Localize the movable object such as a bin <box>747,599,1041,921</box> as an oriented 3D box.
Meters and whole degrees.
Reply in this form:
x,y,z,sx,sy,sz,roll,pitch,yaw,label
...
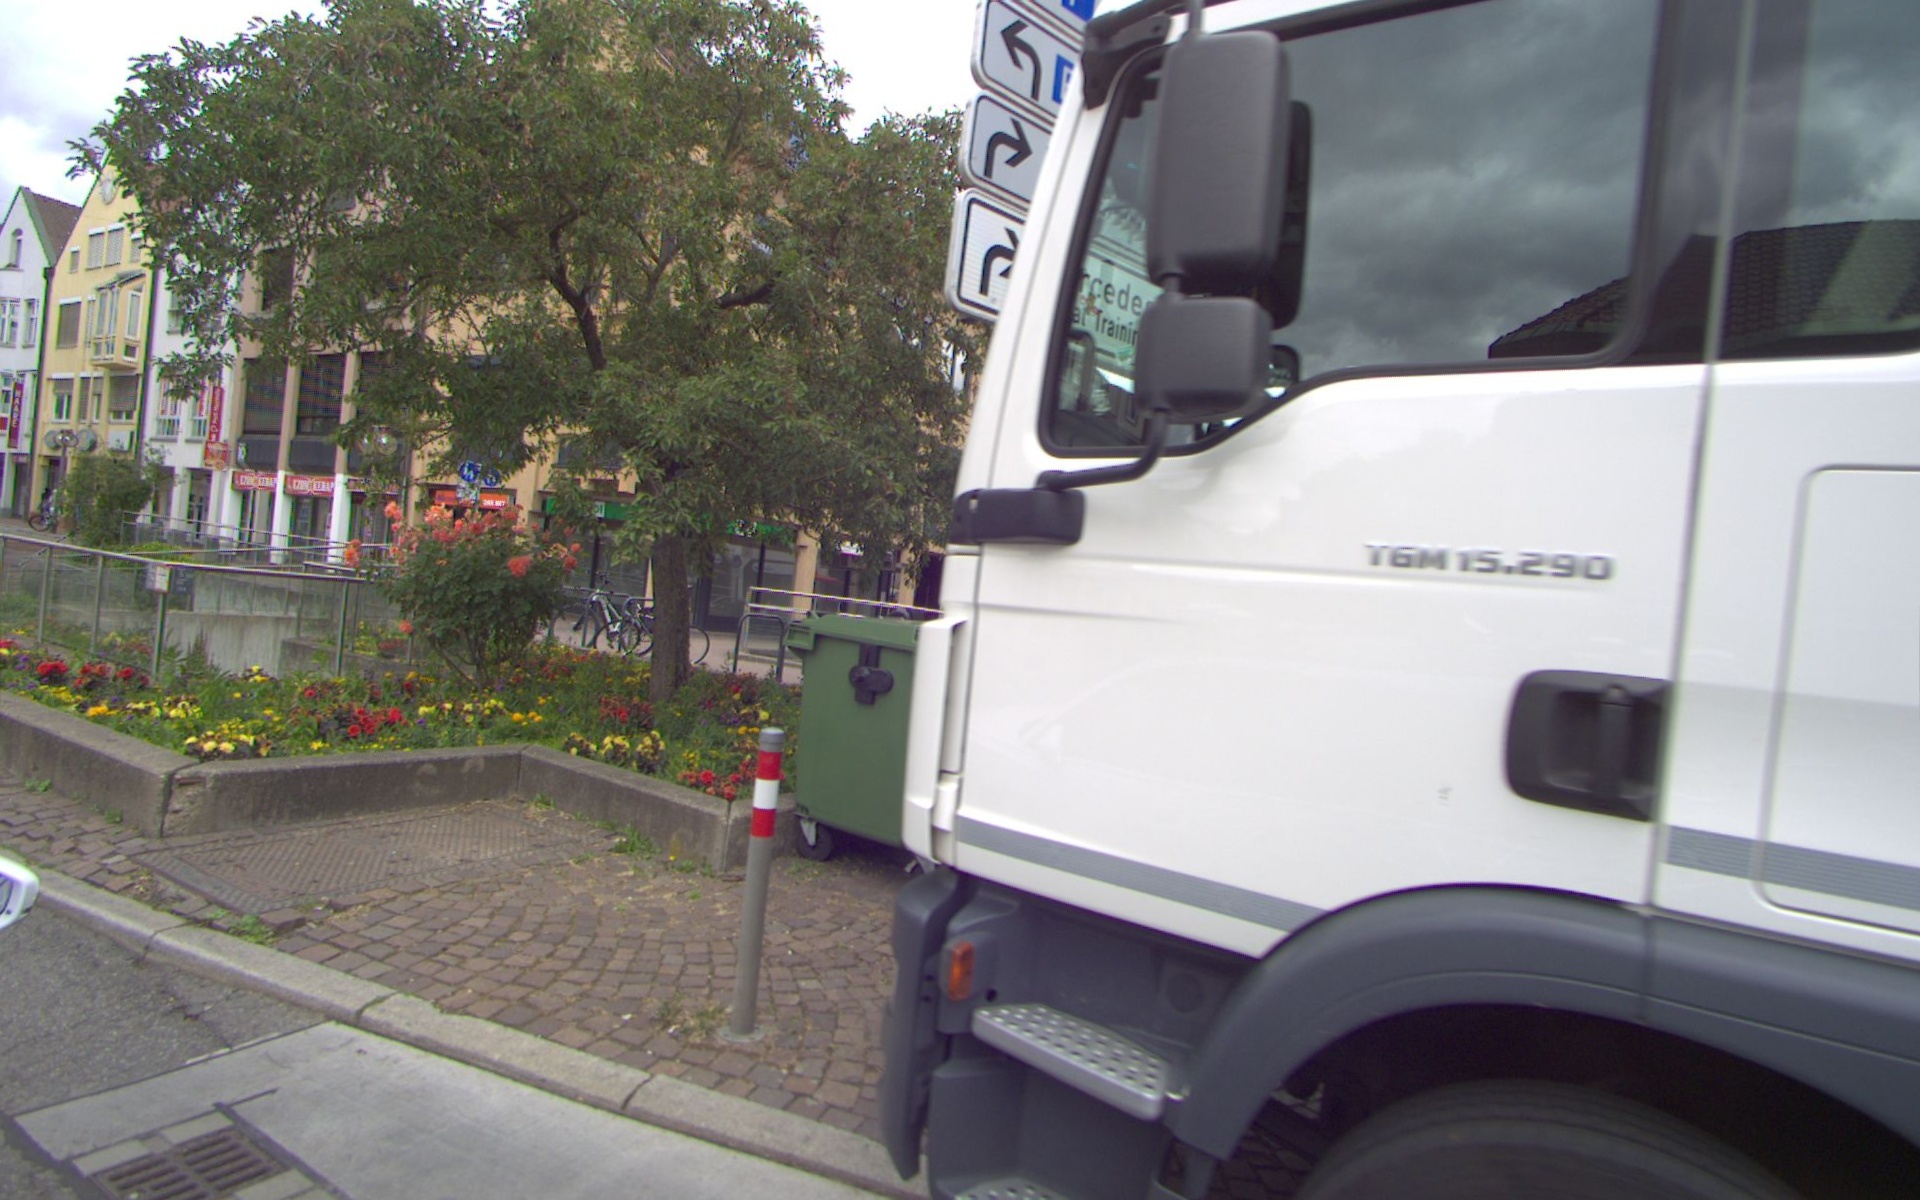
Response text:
x,y,z,sx,sy,sz,roll,pitch,yaw,label
-0.331,0.751,5.182,1.068,1.356,0.882,7,1,33,movable object such as a bin

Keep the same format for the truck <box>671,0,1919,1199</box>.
x,y,z,sx,sy,sz,roll,pitch,yaw,label
4.412,0.131,0.478,9.602,3.606,2.692,7,1,31,truck

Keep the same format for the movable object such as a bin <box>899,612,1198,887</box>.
x,y,z,sx,sy,sz,roll,pitch,yaw,label
0.569,0.855,6.297,1.353,1.356,1.144,7,1,33,movable object such as a bin

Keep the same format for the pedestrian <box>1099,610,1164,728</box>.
x,y,z,sx,sy,sz,roll,pitch,yaw,label
2.494,1.002,14.682,0.610,1.622,0.511,6,1,-14,pedestrian

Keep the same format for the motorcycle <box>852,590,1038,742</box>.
x,y,z,sx,sy,sz,roll,pitch,yaw,label
-0.189,0.731,11.645,1.912,1.456,0.721,7,1,29,motorcycle

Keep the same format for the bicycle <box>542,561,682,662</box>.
x,y,z,sx,sy,sz,roll,pitch,yaw,label
-5.235,0.203,15.274,0.828,1.343,1.820,7,0,27,bicycle

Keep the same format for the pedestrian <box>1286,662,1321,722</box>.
x,y,z,sx,sy,sz,roll,pitch,yaw,label
7.472,1.993,21.870,0.504,1.215,0.619,7,1,29,pedestrian

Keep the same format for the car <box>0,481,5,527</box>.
x,y,z,sx,sy,sz,roll,pitch,yaw,label
-37.498,-3.693,37.360,3.933,1.887,1.869,7,0,31,car

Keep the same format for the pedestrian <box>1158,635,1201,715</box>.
x,y,z,sx,sy,sz,roll,pitch,yaw,label
4.382,1.488,20.040,0.609,1.494,0.608,7,1,19,pedestrian

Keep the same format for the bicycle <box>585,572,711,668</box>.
x,y,z,sx,sy,sz,roll,pitch,yaw,label
-4.537,0.322,14.741,0.658,1.274,1.678,7,0,27,bicycle
